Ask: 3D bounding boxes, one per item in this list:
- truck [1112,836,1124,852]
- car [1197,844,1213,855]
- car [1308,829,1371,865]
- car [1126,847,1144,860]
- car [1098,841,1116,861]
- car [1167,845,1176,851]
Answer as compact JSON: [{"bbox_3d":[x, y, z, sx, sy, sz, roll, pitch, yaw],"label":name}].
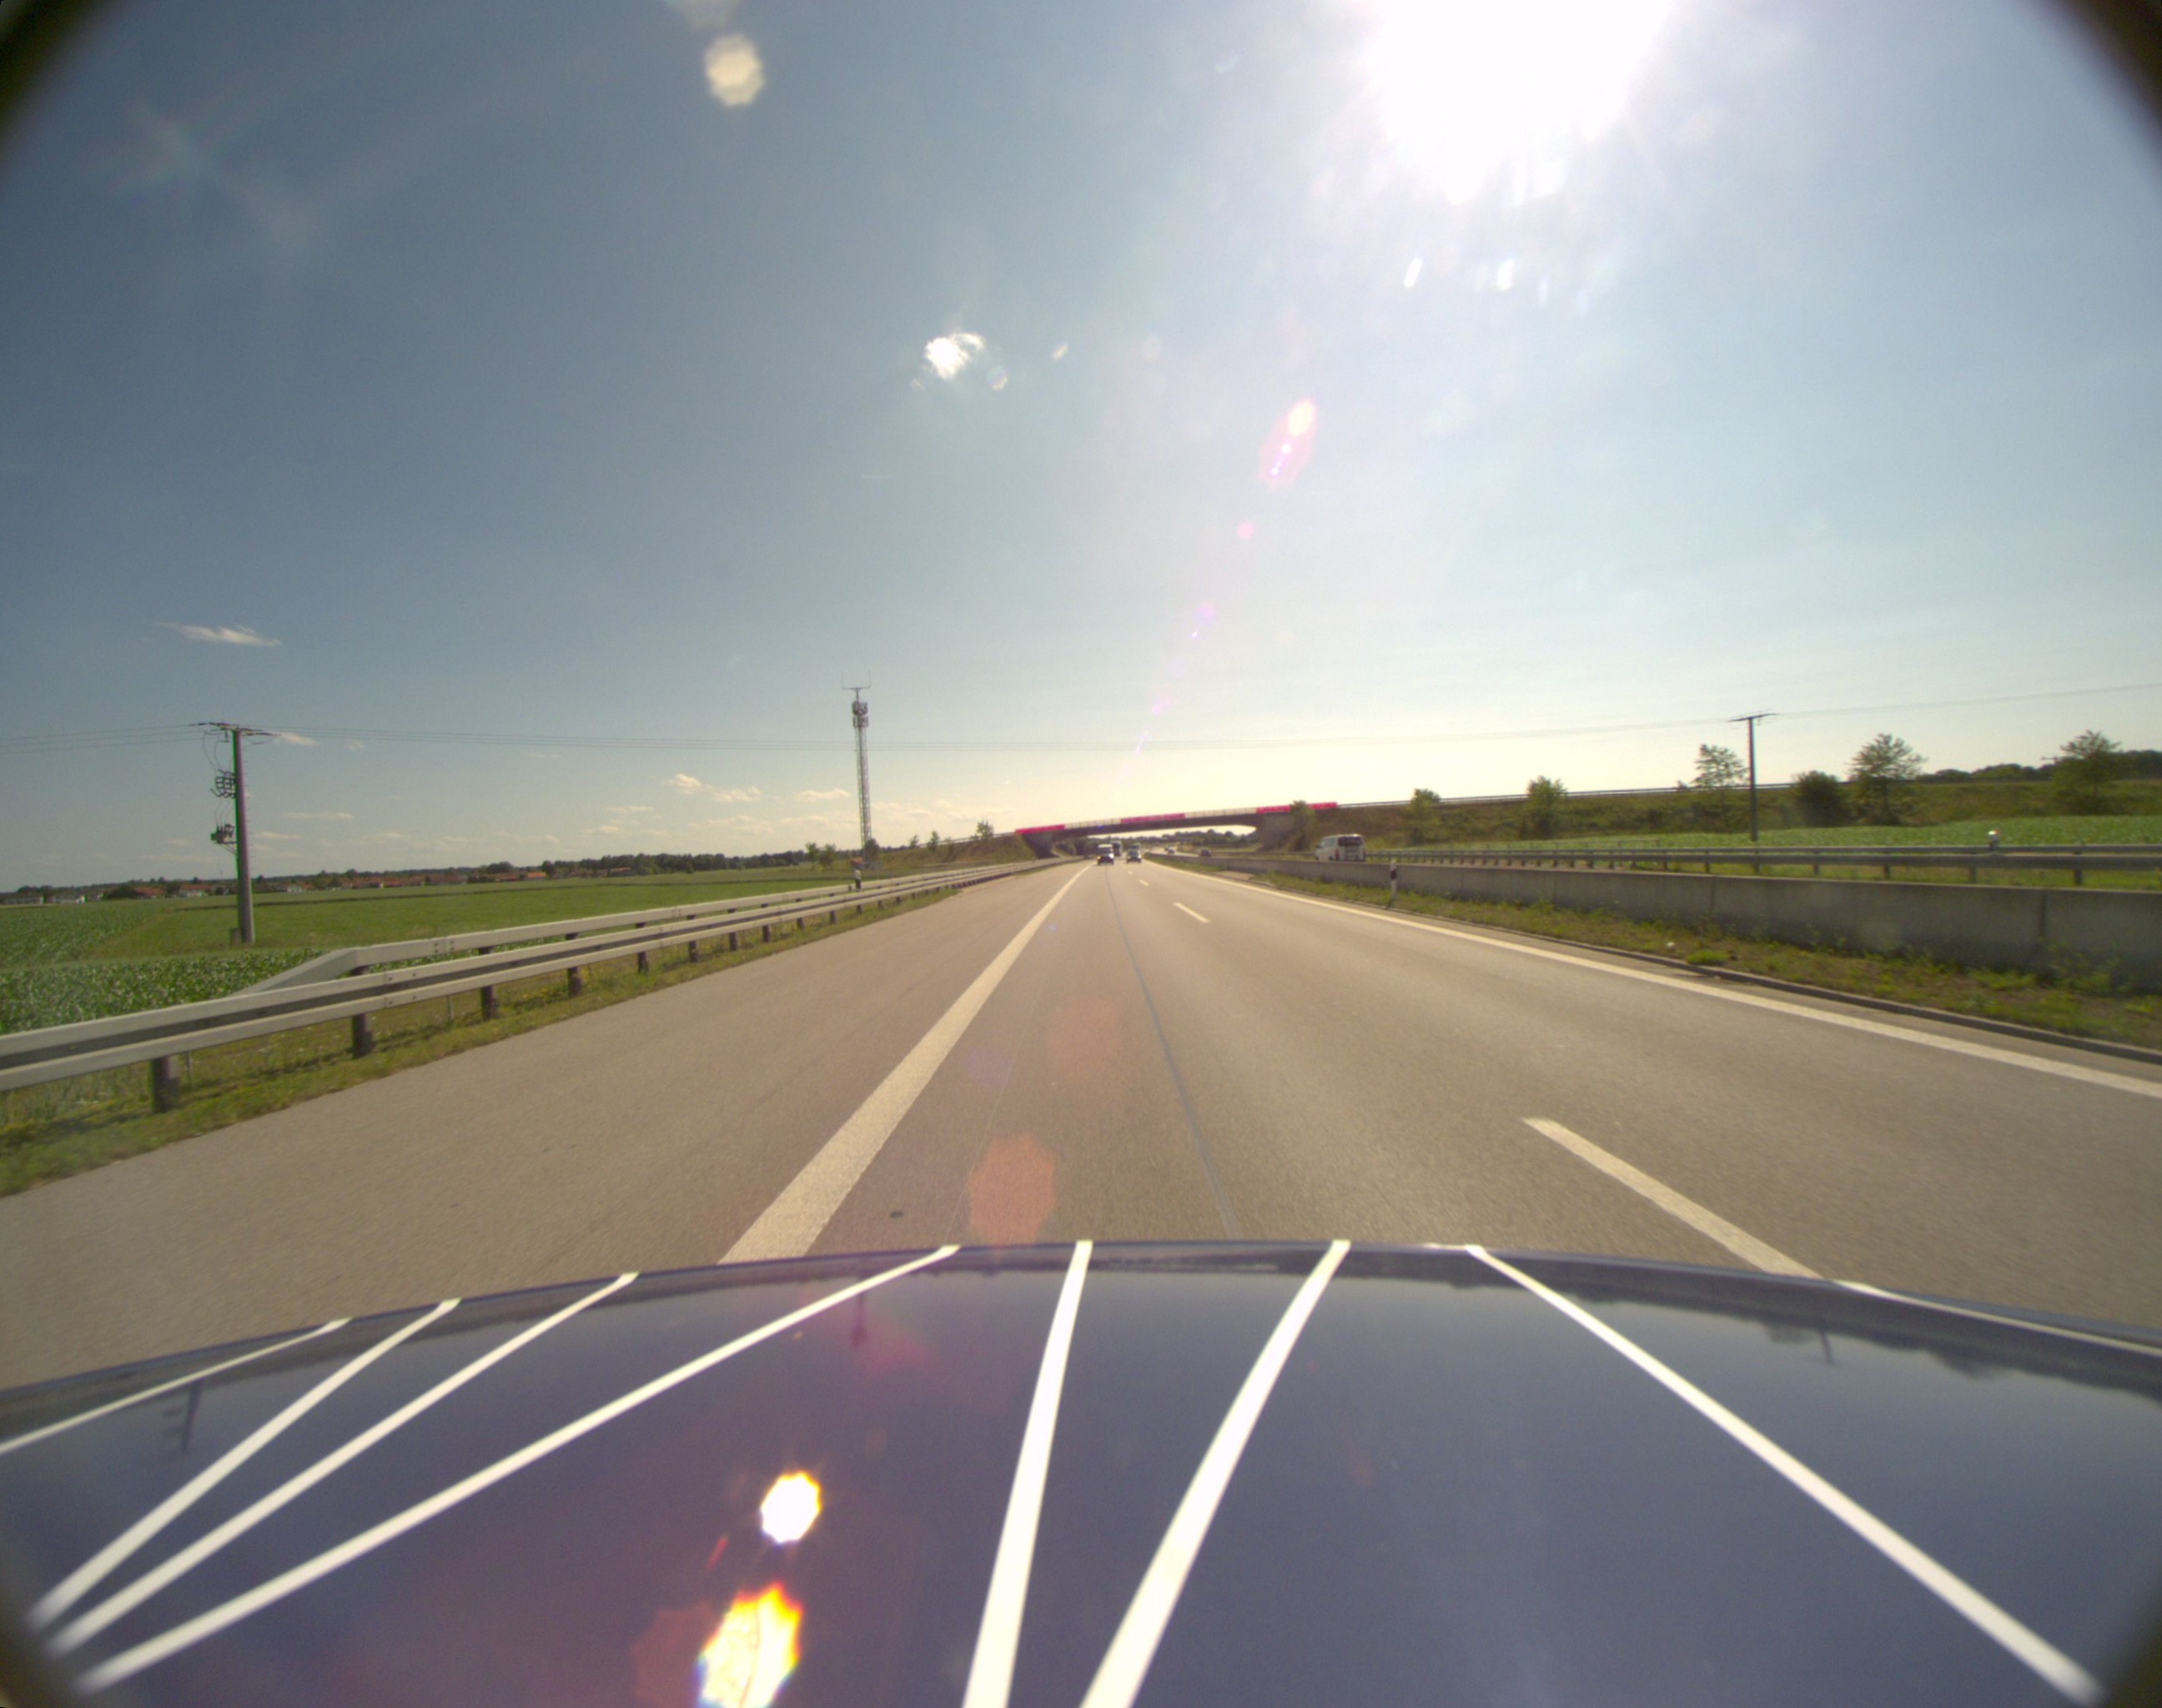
[{"bbox_3d":[9.348,-2.601,190.966,2.762,3.793,7.517,-3,1,2],"label":"truck"},{"bbox_3d":[19.074,-0.676,117.257,1.864,1.505,4.586,-4,0,2],"label":"car"},{"bbox_3d":[15.846,-0.435,46.864,1.998,2.002,5.613,-2,1,1],"label":"car"},{"bbox_3d":[6.906,-0.050,98.019,2.030,1.600,4.818,-2,1,2],"label":"car"},{"bbox_3d":[3.083,-0.410,89.626,2.030,2.225,4.818,-2,1,3],"label":"car"},{"bbox_3d":[24.735,-1.669,207.940,1.998,1.569,4.896,-3,1,3],"label":"car"}]
